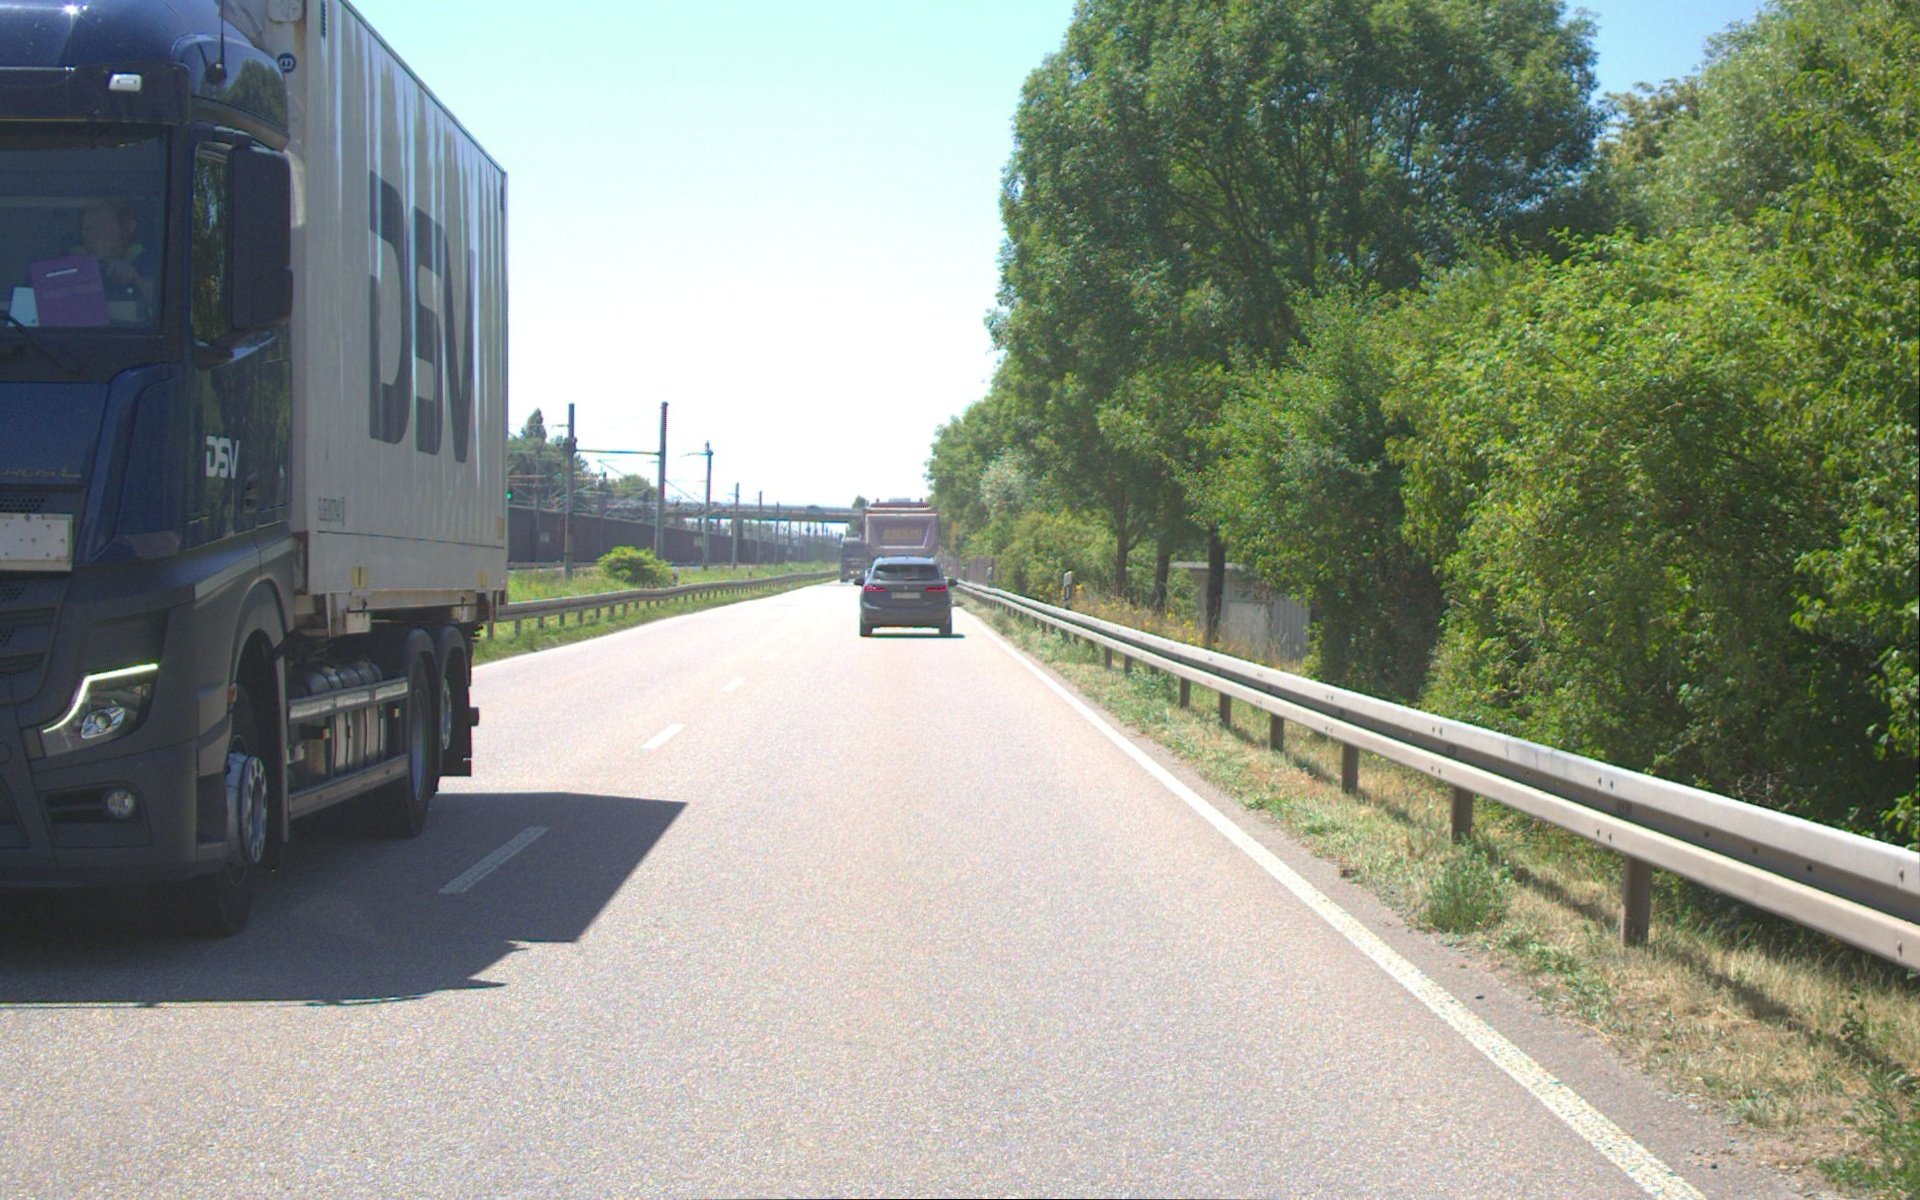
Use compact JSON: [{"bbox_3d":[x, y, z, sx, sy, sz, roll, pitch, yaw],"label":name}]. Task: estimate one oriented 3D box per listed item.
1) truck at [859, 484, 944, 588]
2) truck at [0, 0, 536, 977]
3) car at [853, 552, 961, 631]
[{"bbox_3d":[-2.025,-2.192,119.701,2.770,3.414,10.820,1,1,-1],"label":"truck"},{"bbox_3d":[-4.117,-0.732,17.360,2.797,3.964,10.500,0,1,-1],"label":"truck"},{"bbox_3d":[-1.076,-0.195,68.172,1.993,1.503,4.001,0,1,-3],"label":"car"}]
